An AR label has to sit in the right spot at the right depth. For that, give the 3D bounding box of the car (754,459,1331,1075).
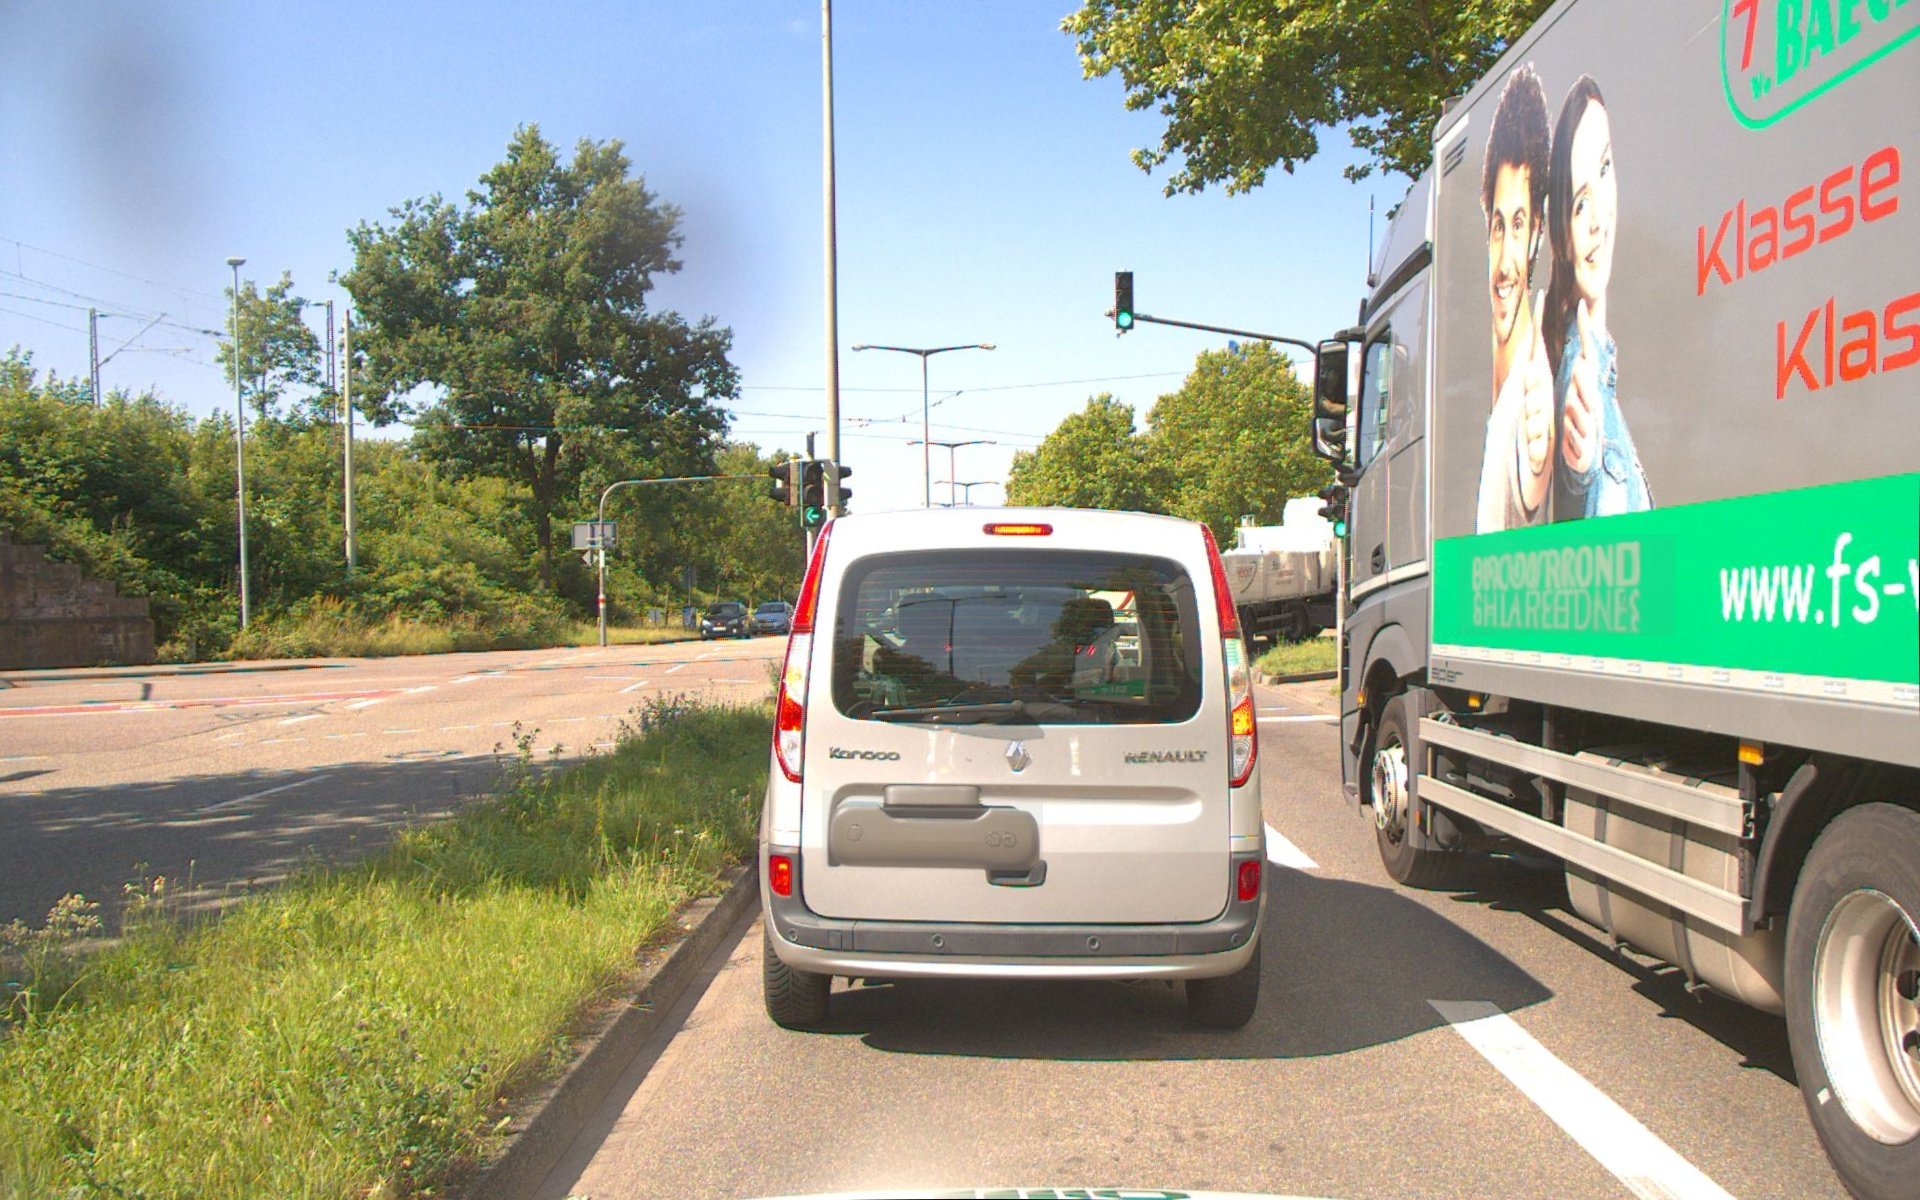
[{"bbox_3d":[0.231,0.525,7.094,1.750,1.870,3.999,1,0,-1],"label":"car"}]

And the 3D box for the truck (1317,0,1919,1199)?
[{"bbox_3d":[3.460,-0.550,5.975,2.673,3.958,8.724,0,0,2],"label":"truck"}]

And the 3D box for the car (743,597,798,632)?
[{"bbox_3d":[-8.956,0.684,78.518,1.952,1.567,4.237,-1,0,2],"label":"car"}]

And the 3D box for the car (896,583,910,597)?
[{"bbox_3d":[-8.677,-1.554,249.985,1.849,2.049,4.001,1,0,1],"label":"car"}]

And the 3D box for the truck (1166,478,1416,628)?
[{"bbox_3d":[9.031,-1.133,44.602,7.124,3.707,2.877,1,-1,-41],"label":"truck"}]

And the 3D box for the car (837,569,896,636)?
[{"bbox_3d":[-3.871,0.107,69.549,1.952,2.653,5.135,-1,0,2],"label":"car"}]

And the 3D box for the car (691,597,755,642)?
[{"bbox_3d":[-9.381,0.762,65.670,1.872,1.670,3.738,-1,0,2],"label":"car"}]

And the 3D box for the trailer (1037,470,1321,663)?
[{"bbox_3d":[5.466,-0.586,37.959,2.842,3.686,12.677,1,0,25],"label":"trailer"}]
